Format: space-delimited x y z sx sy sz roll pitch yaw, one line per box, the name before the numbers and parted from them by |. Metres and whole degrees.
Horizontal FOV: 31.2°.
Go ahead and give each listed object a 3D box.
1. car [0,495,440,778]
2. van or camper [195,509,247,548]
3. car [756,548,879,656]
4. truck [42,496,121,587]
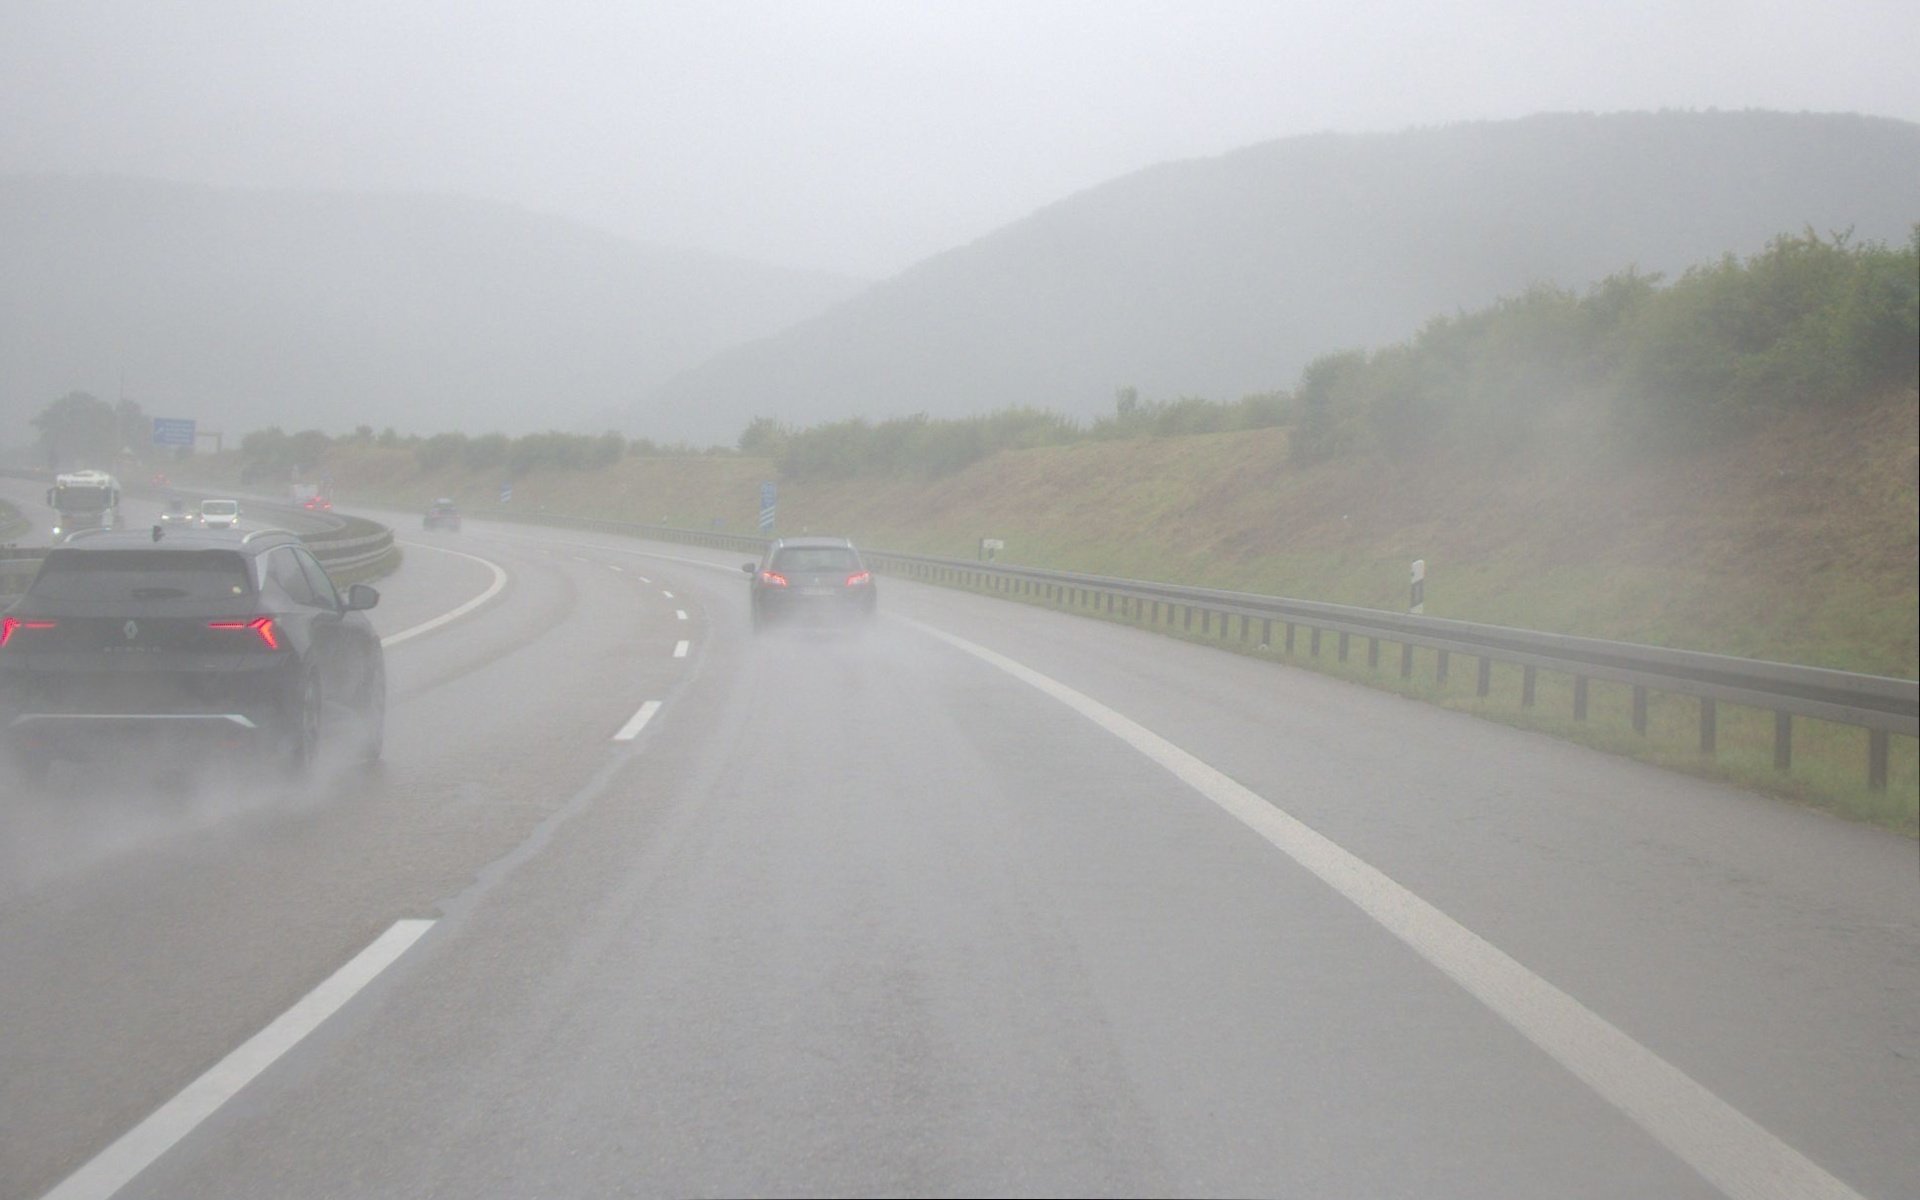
car | -4.636 0.171 21.533 2.405 1.510 4.785 2 1 -5
van or camper | -35.925 -3.477 167.216 1.993 1.871 5.347 0 1 -7
car | -2.074 0.004 50.345 1.679 1.467 3.815 2 1 -2
truck | -37.595 -2.531 147.235 2.883 3.789 5.317 0 1 -10
